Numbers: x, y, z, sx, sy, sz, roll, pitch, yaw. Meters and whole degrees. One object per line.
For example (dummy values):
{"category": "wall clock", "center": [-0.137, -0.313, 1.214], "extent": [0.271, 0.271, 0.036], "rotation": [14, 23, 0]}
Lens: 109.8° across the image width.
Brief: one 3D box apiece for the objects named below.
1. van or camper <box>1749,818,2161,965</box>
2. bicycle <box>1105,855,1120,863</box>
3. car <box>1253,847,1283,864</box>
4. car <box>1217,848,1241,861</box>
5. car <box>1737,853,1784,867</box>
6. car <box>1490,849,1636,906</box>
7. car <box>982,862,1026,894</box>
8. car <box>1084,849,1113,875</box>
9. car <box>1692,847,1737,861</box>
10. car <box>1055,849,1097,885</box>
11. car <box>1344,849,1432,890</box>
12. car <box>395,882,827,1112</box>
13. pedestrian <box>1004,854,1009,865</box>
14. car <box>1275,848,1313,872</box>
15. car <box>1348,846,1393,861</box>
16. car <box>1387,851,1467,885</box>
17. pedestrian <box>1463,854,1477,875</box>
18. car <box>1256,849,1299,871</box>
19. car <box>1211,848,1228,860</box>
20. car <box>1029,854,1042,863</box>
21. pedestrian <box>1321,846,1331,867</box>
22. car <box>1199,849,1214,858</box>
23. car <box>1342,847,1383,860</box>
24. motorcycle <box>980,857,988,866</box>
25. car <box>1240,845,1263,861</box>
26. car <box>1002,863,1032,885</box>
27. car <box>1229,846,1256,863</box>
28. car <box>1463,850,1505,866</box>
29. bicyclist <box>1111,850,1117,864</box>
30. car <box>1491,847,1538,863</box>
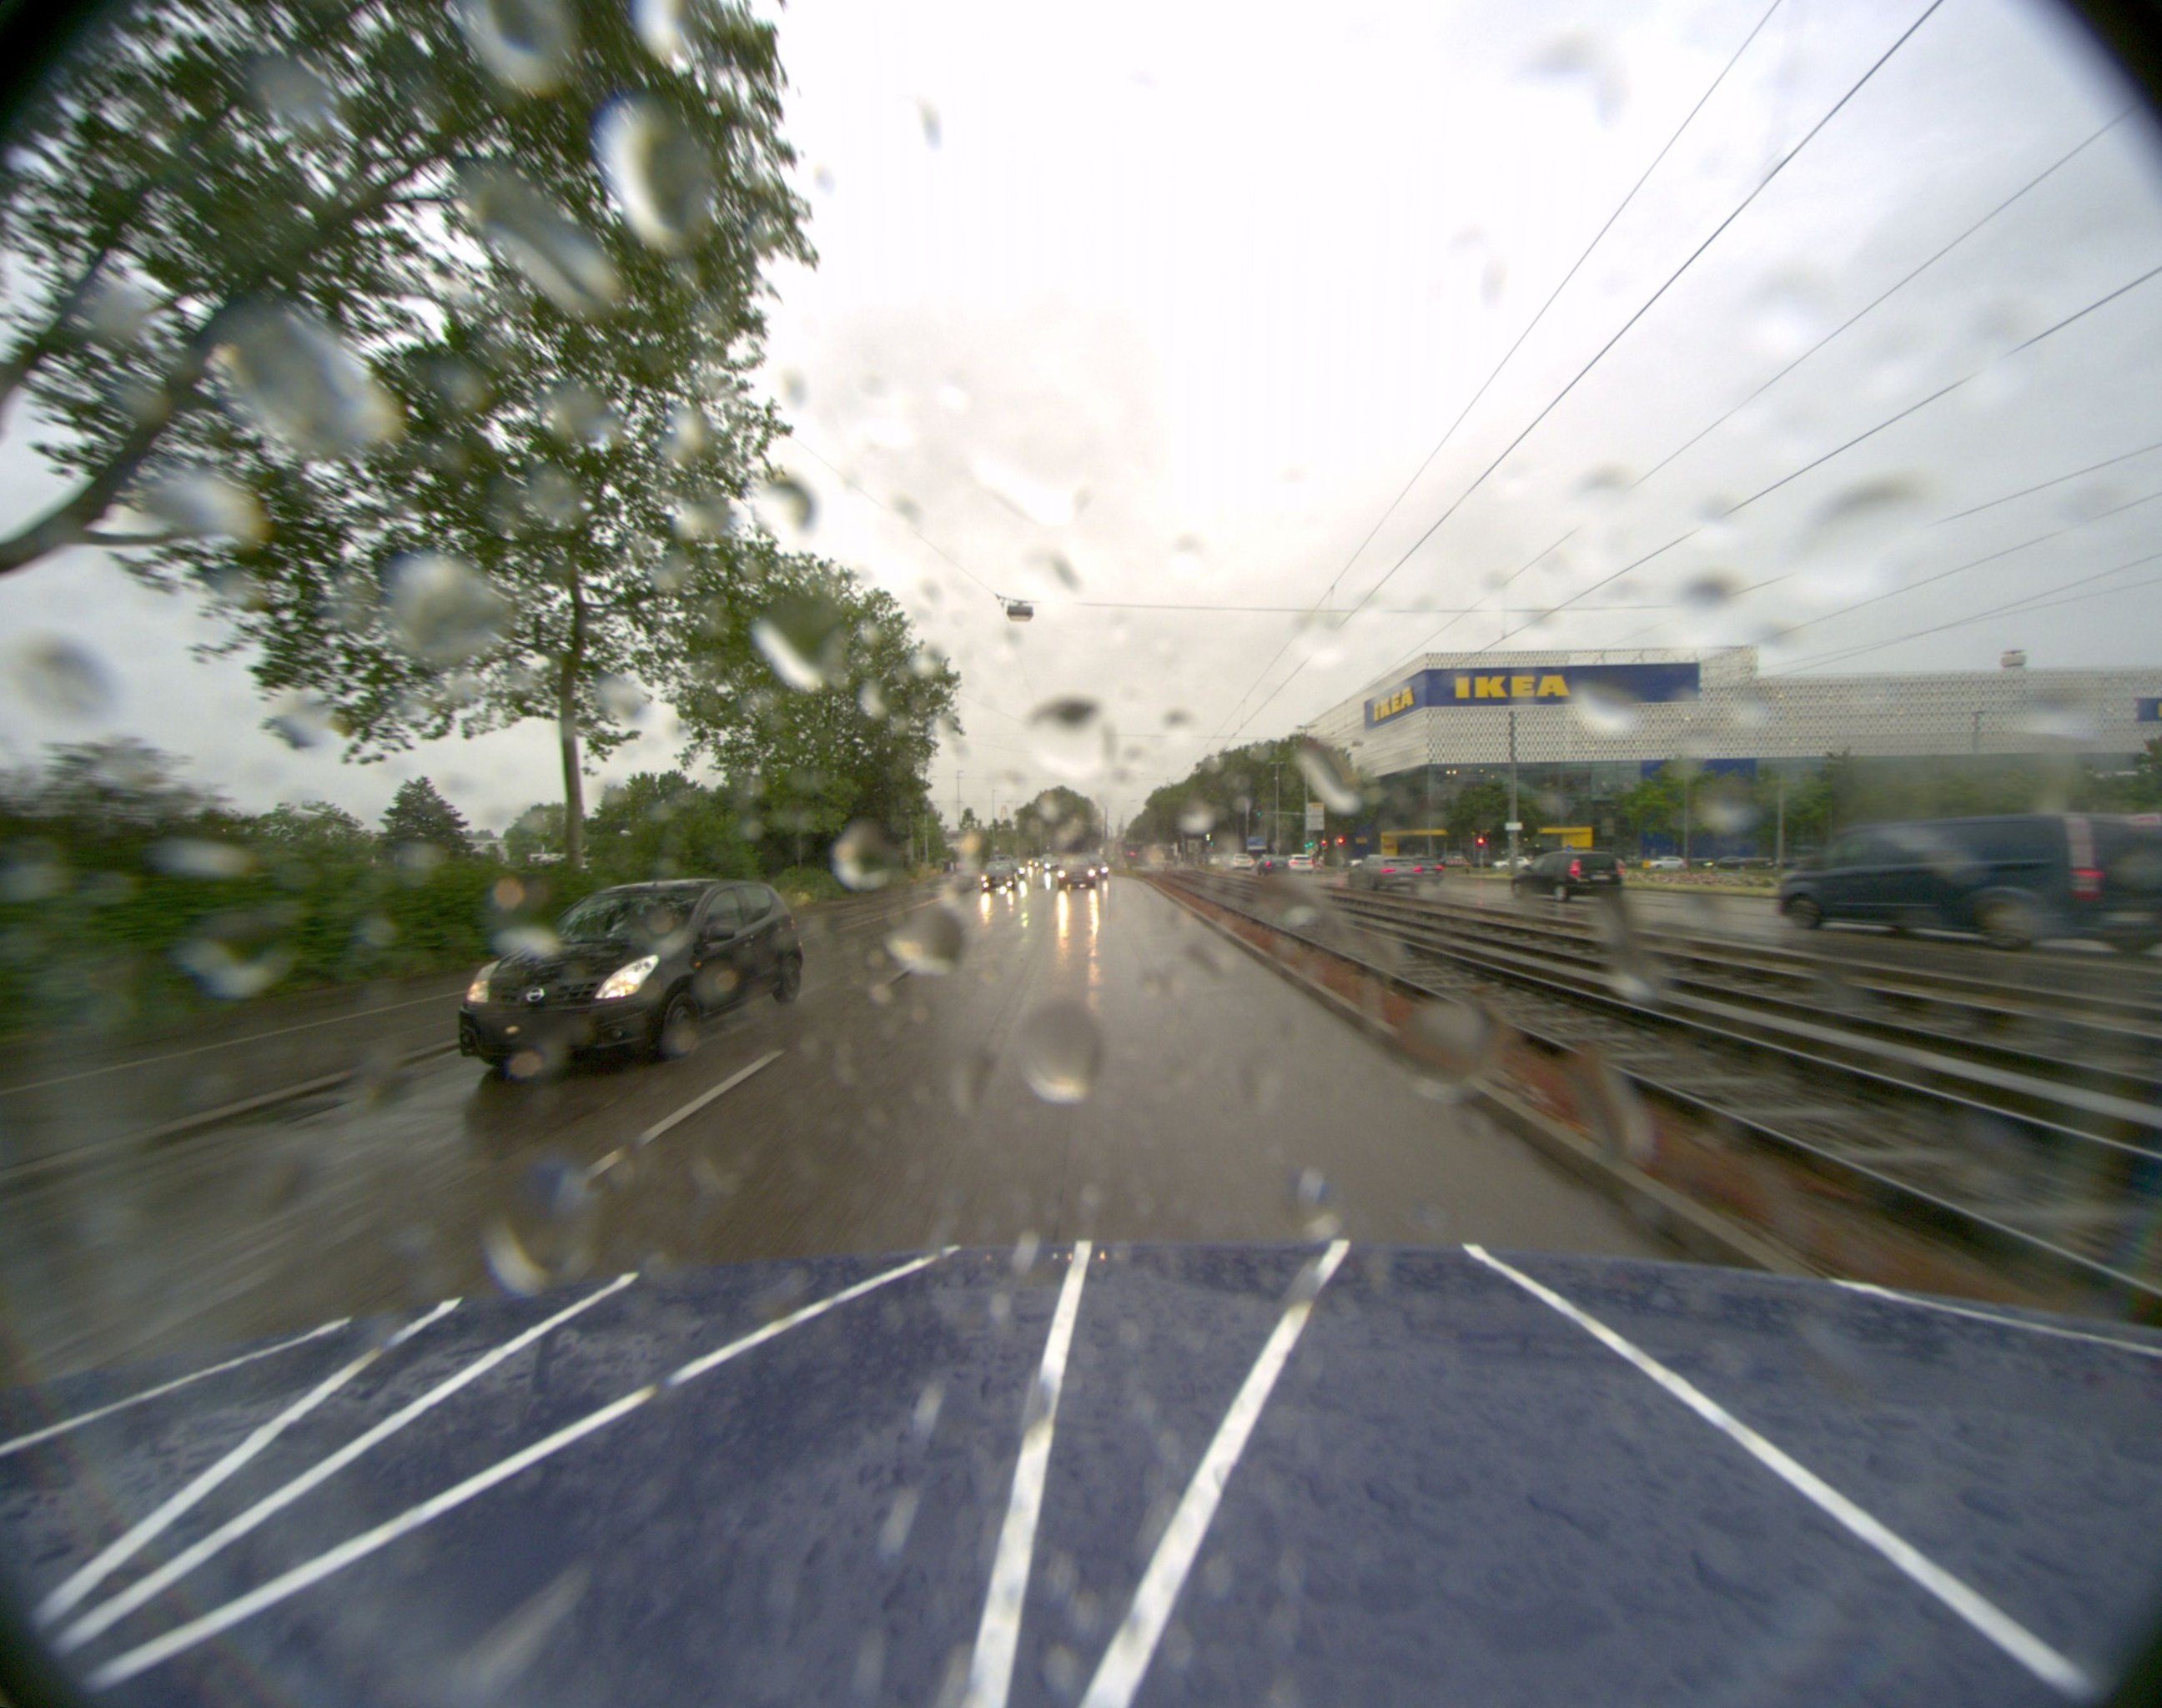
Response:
{"category": "van or camper", "center": [15.141, 0.478, 13.172], "extent": [2.310, 2.002, 5.686], "rotation": [0, 1, 3]}
{"category": "bicycle", "center": [4.110, 0.669, 97.919], "extent": [1.870, 1.002, 0.670], "rotation": [-3, 0, 0]}
{"category": "car", "center": [19.435, 0.153, 79.055], "extent": [1.912, 1.597, 4.842], "rotation": [-4, 0, 1]}
{"category": "car", "center": [17.181, 0.094, 88.347], "extent": [1.927, 1.415, 5.085], "rotation": [3, 0, 3]}
{"category": "car", "center": [78.826, 0.659, 88.151], "extent": [3.821, 1.399, 1.602], "rotation": [-2, 1, 4]}
{"category": "car", "center": [15.535, 0.676, 24.877], "extent": [1.862, 1.608, 4.908], "rotation": [2, 1, 3]}
{"category": "car", "center": [-3.901, 1.184, 39.027], "extent": [1.715, 1.476, 4.044], "rotation": [-3, -1, 1]}
{"category": "car", "center": [1.136, 0.500, 49.263], "extent": [1.715, 1.515, 4.044], "rotation": [-3, -1, 1]}
{"category": "car", "center": [73.946, -0.017, 88.730], "extent": [3.821, 1.399, 1.602], "rotation": [-2, 1, 4]}
{"category": "car", "center": [-0.227, 0.632, 37.219], "extent": [1.876, 1.573, 4.043], "rotation": [-3, -1, 0]}
{"category": "car", "center": [12.539, 0.579, 31.361], "extent": [1.862, 1.485, 4.689], "rotation": [0, 1, 2]}
{"category": "car", "center": [-4.030, 1.090, 7.472], "extent": [1.776, 1.453, 4.091], "rotation": [-3, -1, -2]}
{"category": "pedestrian", "center": [-10.868, 0.794, 111.123], "extent": [0.734, 1.602, 0.618], "rotation": [0, 2, 1]}
{"category": "car", "center": [17.621, 0.463, 63.013], "extent": [1.998, 1.823, 4.693], "rotation": [-1, 1, 3]}
{"category": "car", "center": [33.450, -0.085, 87.960], "extent": [4.459, 1.532, 1.820], "rotation": [-2, 0, 4]}
{"category": "car", "center": [16.982, 0.653, 37.592], "extent": [1.968, 1.507, 4.554], "rotation": [1, 1, 2]}
{"category": "pedestrian", "center": [33.233, 0.903, 64.935], "extent": [0.715, 1.808, 0.768], "rotation": [-3, 1, -5]}
{"category": "car", "center": [13.966, 0.408, 54.290], "extent": [1.998, 1.448, 4.671], "rotation": [1, 1, 2]}
{"category": "car", "center": [18.409, 0.040, 101.340], "extent": [1.716, 1.526, 4.049], "rotation": [-3, -1, 4]}
{"category": "car", "center": [-7.570, 0.766, 126.711], "extent": [1.715, 1.515, 4.178], "rotation": [-3, -1, 1]}
{"category": "pedestrian", "center": [27.526, 0.246, 85.542], "extent": [0.920, 2.232, 0.990], "rotation": [-3, 3, 15]}
{"category": "car", "center": [18.880, -0.015, 114.507], "extent": [1.716, 1.242, 4.463], "rotation": [-3, -1, 3]}
{"category": "car", "center": [33.996, -0.054, 91.848], "extent": [4.284, 1.532, 1.820], "rotation": [-1, 0, 4]}
{"category": "motorcycle", "center": [-13.163, 1.063, 102.781], "extent": [0.633, 1.211, 1.449], "rotation": [0, 0, 13]}
{"category": "car", "center": [21.762, -0.146, 97.258], "extent": [1.998, 1.890, 4.790], "rotation": [-2, 1, 2]}
{"category": "car", "center": [-4.635, 1.433, 55.746], "extent": [1.715, 1.515, 4.044], "rotation": [-3, -1, 1]}
{"category": "car", "center": [15.830, 0.042, 74.750], "extent": [1.877, 1.564, 4.329], "rotation": [-3, -1, 3]}
{"category": "car", "center": [48.024, 0.474, 90.579], "extent": [4.010, 1.664, 1.682], "rotation": [-2, 1, 4]}
{"category": "bicyclist", "center": [4.208, 0.371, 97.852], "extent": [0.618, 1.721, 0.793], "rotation": [-3, 0, -1]}
{"category": "car", "center": [49.544, 0.118, 86.868], "extent": [4.106, 1.594, 2.000], "rotation": [-2, 1, 3]}
